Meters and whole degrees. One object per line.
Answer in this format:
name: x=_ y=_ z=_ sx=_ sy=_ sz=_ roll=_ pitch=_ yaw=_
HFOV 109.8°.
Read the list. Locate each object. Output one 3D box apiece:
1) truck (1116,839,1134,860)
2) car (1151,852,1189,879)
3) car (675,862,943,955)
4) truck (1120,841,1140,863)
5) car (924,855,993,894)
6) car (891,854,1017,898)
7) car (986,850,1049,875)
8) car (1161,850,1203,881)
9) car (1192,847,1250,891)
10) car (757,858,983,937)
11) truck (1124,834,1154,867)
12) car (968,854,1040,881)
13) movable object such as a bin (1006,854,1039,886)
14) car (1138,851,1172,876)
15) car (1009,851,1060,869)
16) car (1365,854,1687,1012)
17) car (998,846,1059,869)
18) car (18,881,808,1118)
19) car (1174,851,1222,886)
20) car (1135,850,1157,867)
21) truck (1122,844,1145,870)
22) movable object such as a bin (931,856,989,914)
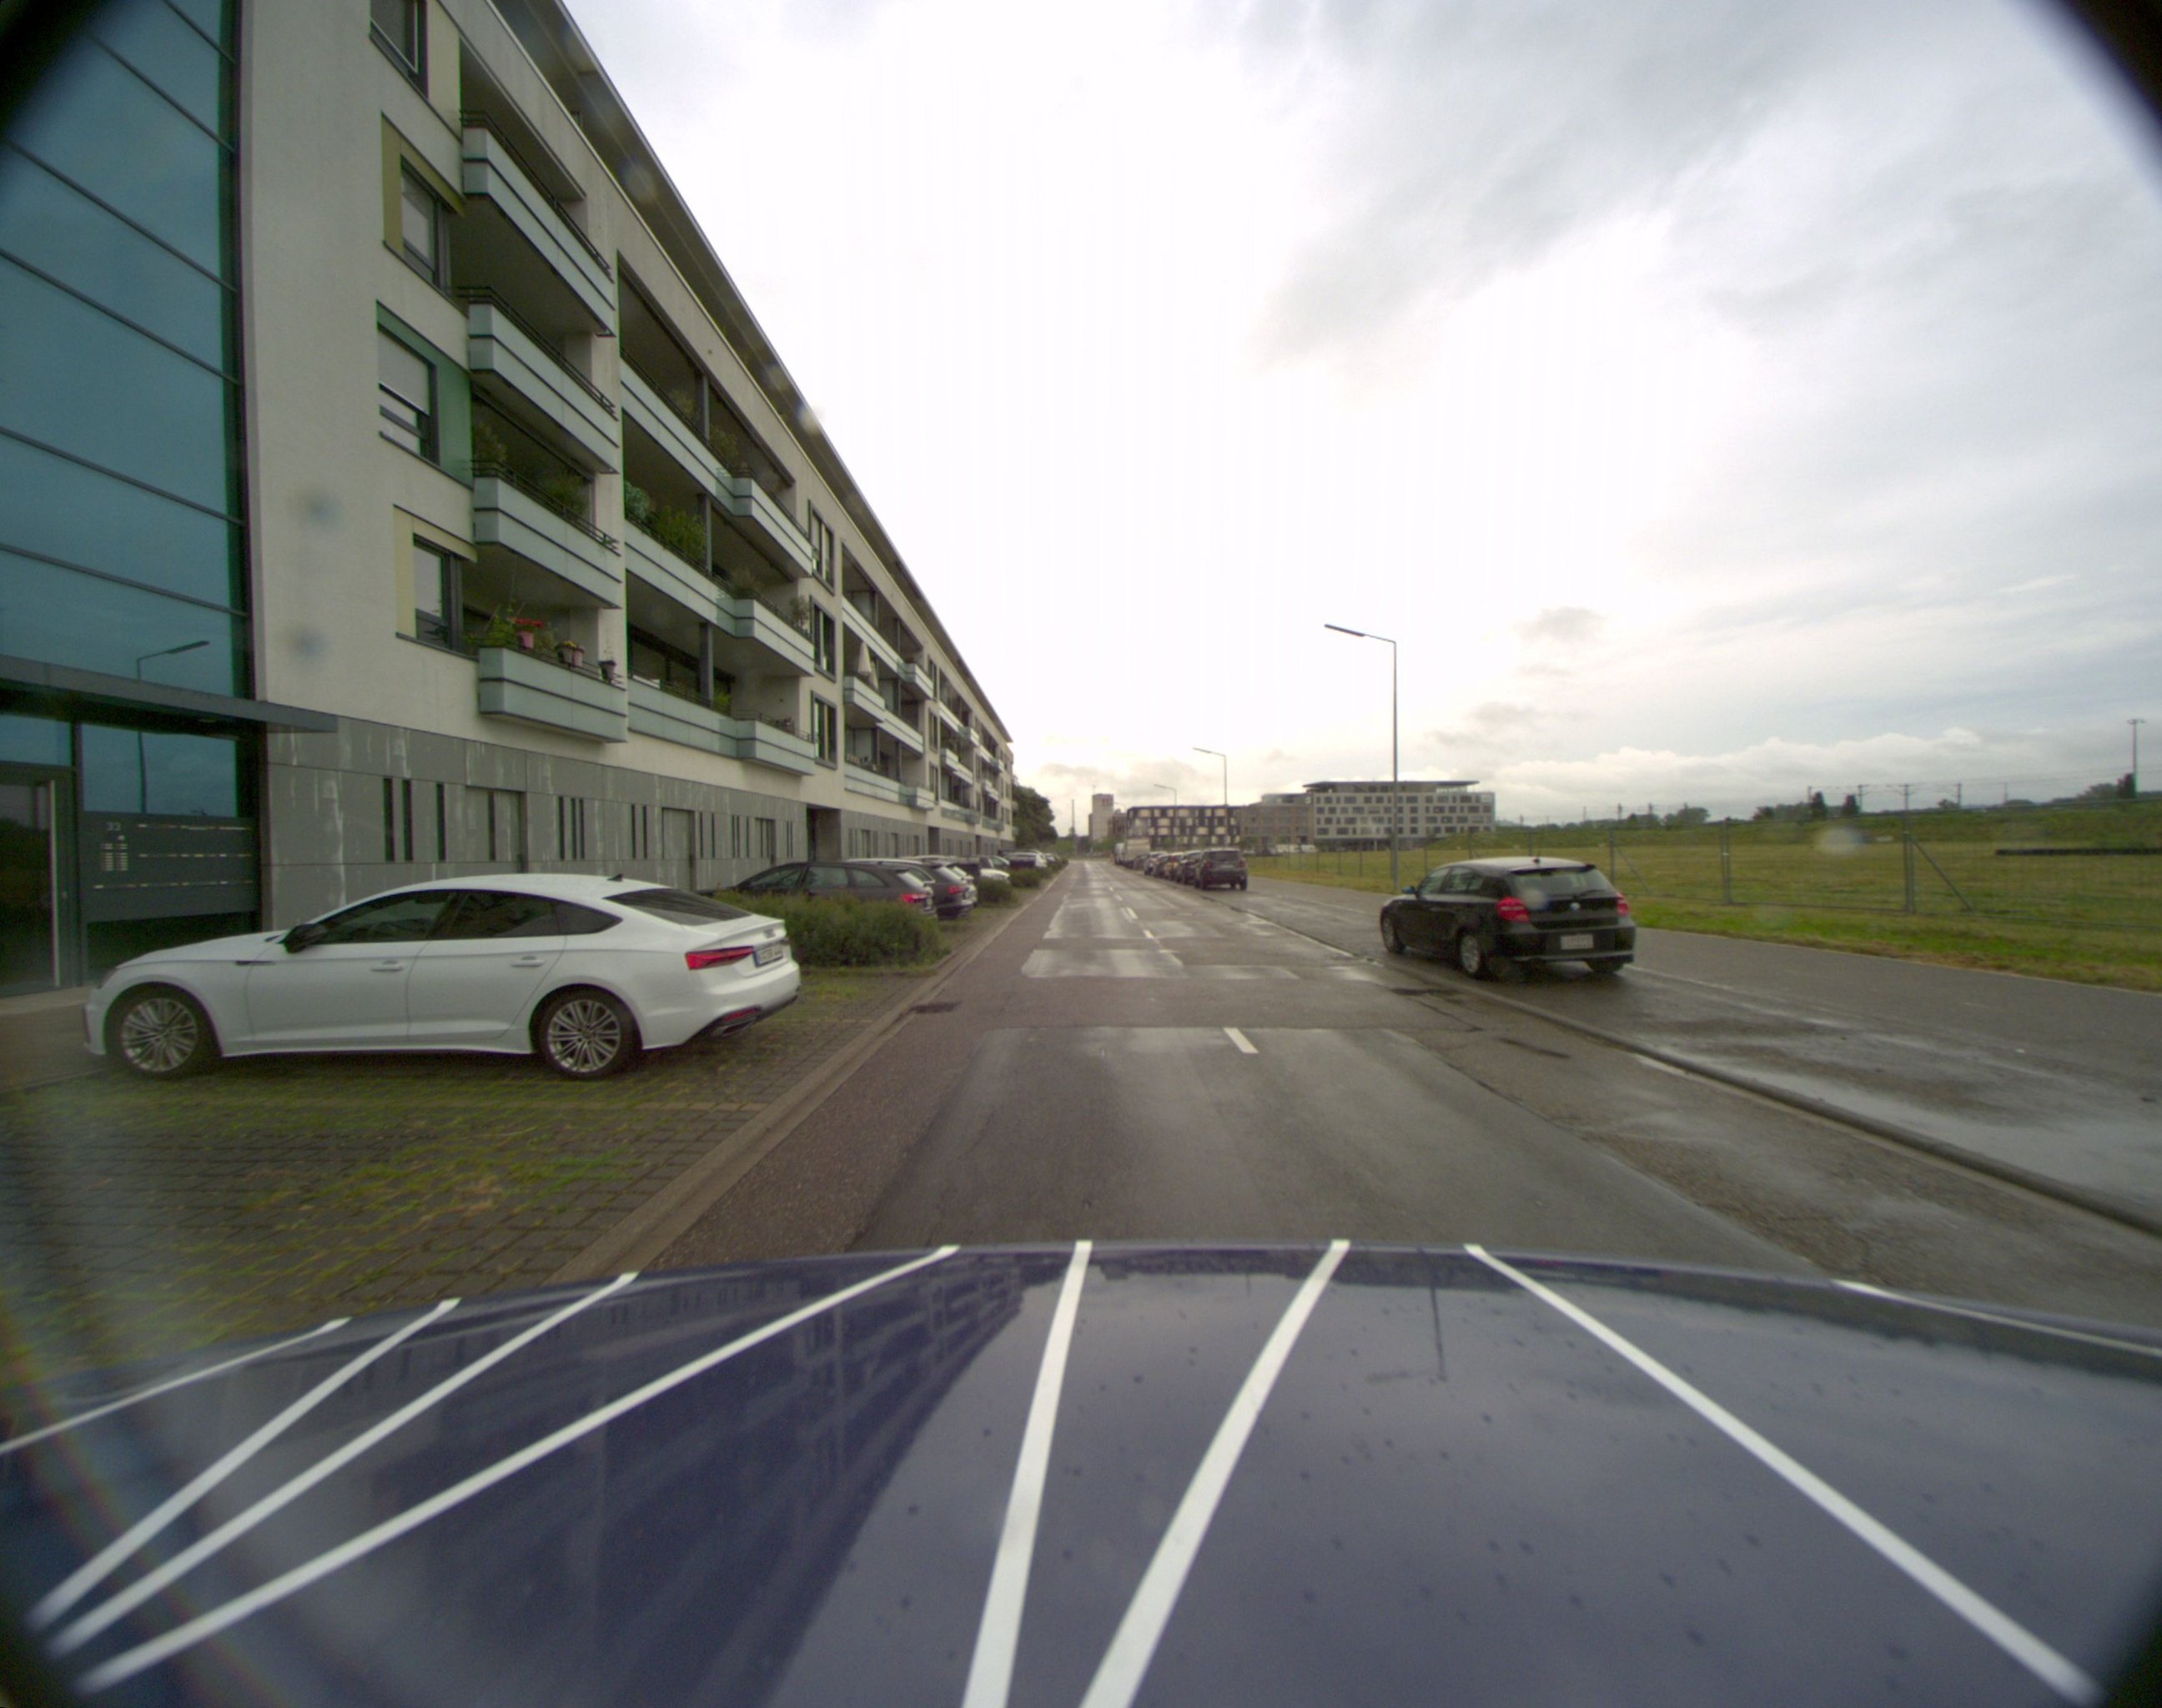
truck: x=5.961 y=-0.556 z=103.580 sx=2.180 sy=2.730 sz=5.289 roll=-1 pitch=0 yaw=0
car: x=5.659 y=0.702 z=48.714 sx=1.842 sy=1.520 sz=4.670 roll=-3 pitch=1 yaw=1
car: x=-4.585 y=0.891 z=13.265 sx=3.997 sy=1.471 sz=1.879 roll=0 pitch=1 yaw=-1
truck: x=6.168 y=-0.268 z=96.334 sx=2.180 sy=2.591 sz=6.131 roll=-1 pitch=0 yaw=0
car: x=-4.910 y=0.819 z=30.596 sx=2.631 sy=1.498 sz=1.207 roll=1 pitch=1 yaw=-6
car: x=-4.695 y=0.792 z=28.546 sx=4.357 sy=1.521 sz=1.893 roll=1 pitch=1 yaw=0
car: x=-4.413 y=0.590 z=53.165 sx=4.218 sy=1.635 sz=1.686 roll=0 pitch=1 yaw=-1
car: x=5.700 y=0.613 z=43.443 sx=1.730 sy=1.566 sz=4.209 roll=-1 pitch=1 yaw=-1
car: x=5.788 y=0.585 z=31.990 sx=1.757 sy=1.683 sz=4.881 roll=-1 pitch=0 yaw=3
car: x=-4.223 y=0.844 z=15.741 sx=4.070 sy=1.488 sz=2.058 roll=0 pitch=1 yaw=1
truck: x=5.750 y=-0.394 z=76.267 sx=2.442 sy=3.050 sz=6.699 roll=-2 pitch=0 yaw=0
car: x=-4.361 y=0.764 z=43.420 sx=3.855 sy=1.482 sz=1.762 roll=1 pitch=0 yaw=1
movable object such as a bin: x=-2.862 y=0.789 z=37.310 sx=1.499 sy=1.484 sz=1.155 roll=2 pitch=1 yaw=0
car: x=5.313 y=0.636 z=55.159 sx=1.857 sy=1.598 sz=4.988 roll=-4 pitch=0 yaw=-1
car: x=-4.294 y=0.548 z=70.540 sx=4.428 sy=1.592 sz=2.083 roll=1 pitch=1 yaw=5
car: x=5.533 y=0.851 z=10.200 sx=1.852 sy=1.552 sz=4.152 roll=-4 pitch=0 yaw=0
car: x=-4.512 y=0.291 z=66.006 sx=5.062 sy=1.917 sz=1.982 roll=1 pitch=1 yaw=0
car: x=-4.682 y=0.983 z=5.897 sx=4.420 sy=1.397 sz=1.910 roll=1 pitch=1 yaw=0
car: x=5.693 y=0.670 z=37.435 sx=1.757 sy=1.581 sz=4.133 roll=-1 pitch=0 yaw=0
car: x=5.820 y=0.414 z=68.346 sx=1.677 sy=1.454 sz=4.156 roll=-1 pitch=0 yaw=0
truck: x=5.955 y=0.285 z=86.981 sx=2.046 sy=2.750 sz=6.736 roll=-2 pitch=0 yaw=0
movable object such as a bin: x=-3.396 y=0.844 z=21.516 sx=1.303 sy=1.517 sz=1.581 roll=-2 pitch=1 yaw=1
